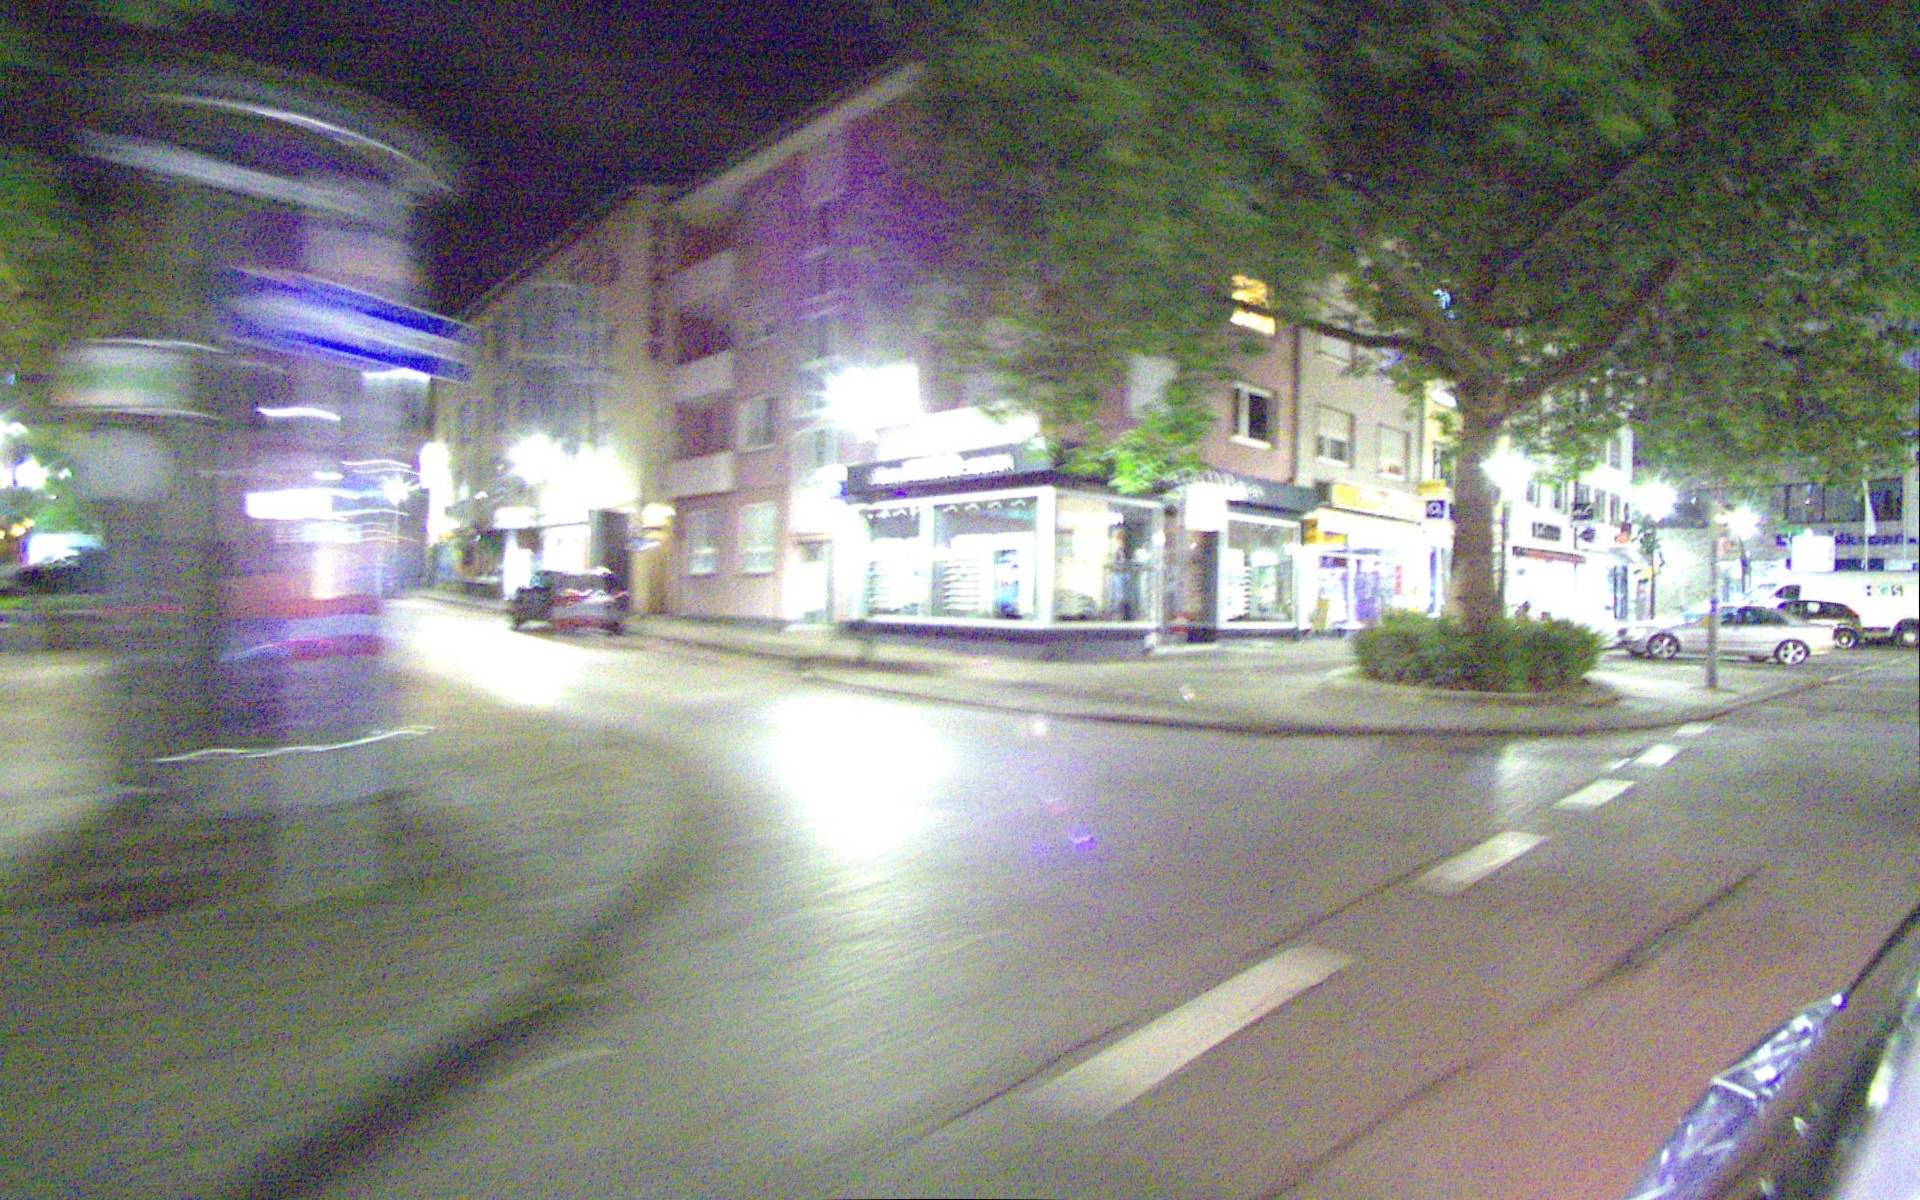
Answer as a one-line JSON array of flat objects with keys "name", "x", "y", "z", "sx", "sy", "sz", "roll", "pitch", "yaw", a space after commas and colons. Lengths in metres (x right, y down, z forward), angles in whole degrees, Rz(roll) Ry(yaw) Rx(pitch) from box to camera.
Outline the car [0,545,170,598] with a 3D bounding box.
[{"name": "car", "x": -26.242, "y": -0.805, "z": 30.373, "sx": 3.930, "sy": 1.498, "sz": 1.750, "roll": 0, "pitch": 0, "yaw": -41}]

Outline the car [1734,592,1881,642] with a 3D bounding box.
[{"name": "car", "x": 26.666, "y": 0.507, "z": 31.961, "sx": 3.143, "sy": 1.474, "sz": 1.681, "roll": 1, "pitch": 1, "yaw": 23}]

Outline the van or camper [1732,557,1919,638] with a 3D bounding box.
[{"name": "van or camper", "x": 29.597, "y": -0.099, "z": 33.492, "sx": 5.976, "sy": 2.565, "sz": 2.148, "roll": 1, "pitch": 1, "yaw": 20}]

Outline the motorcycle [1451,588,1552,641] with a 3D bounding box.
[{"name": "motorcycle", "x": 13.709, "y": 0.360, "z": 25.652, "sx": 2.185, "sy": 1.286, "sz": 0.531, "roll": 1, "pitch": 0, "yaw": 8}]

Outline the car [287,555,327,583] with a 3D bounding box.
[{"name": "car", "x": -37.652, "y": -1.818, "z": 58.332, "sx": 1.445, "sy": 1.518, "sz": 3.519, "roll": 2, "pitch": 1, "yaw": -40}]

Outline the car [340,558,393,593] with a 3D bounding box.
[{"name": "car", "x": -27.008, "y": -1.127, "z": 46.002, "sx": 1.621, "sy": 1.518, "sz": 3.522, "roll": 2, "pitch": 1, "yaw": -37}]

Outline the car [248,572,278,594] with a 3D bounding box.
[{"name": "car", "x": -51.888, "y": -1.290, "z": 75.320, "sx": 1.445, "sy": 1.518, "sz": 3.519, "roll": 2, "pitch": 1, "yaw": -40}]

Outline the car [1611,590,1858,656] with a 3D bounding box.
[{"name": "car", "x": 18.805, "y": 0.523, "z": 24.803, "sx": 4.483, "sy": 1.474, "sz": 1.629, "roll": 1, "pitch": 1, "yaw": 16}]

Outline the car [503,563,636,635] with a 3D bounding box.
[{"name": "car", "x": -9.796, "y": -0.067, "z": 25.220, "sx": 1.867, "sy": 1.609, "sz": 3.995, "roll": 2, "pitch": 1, "yaw": -40}]
